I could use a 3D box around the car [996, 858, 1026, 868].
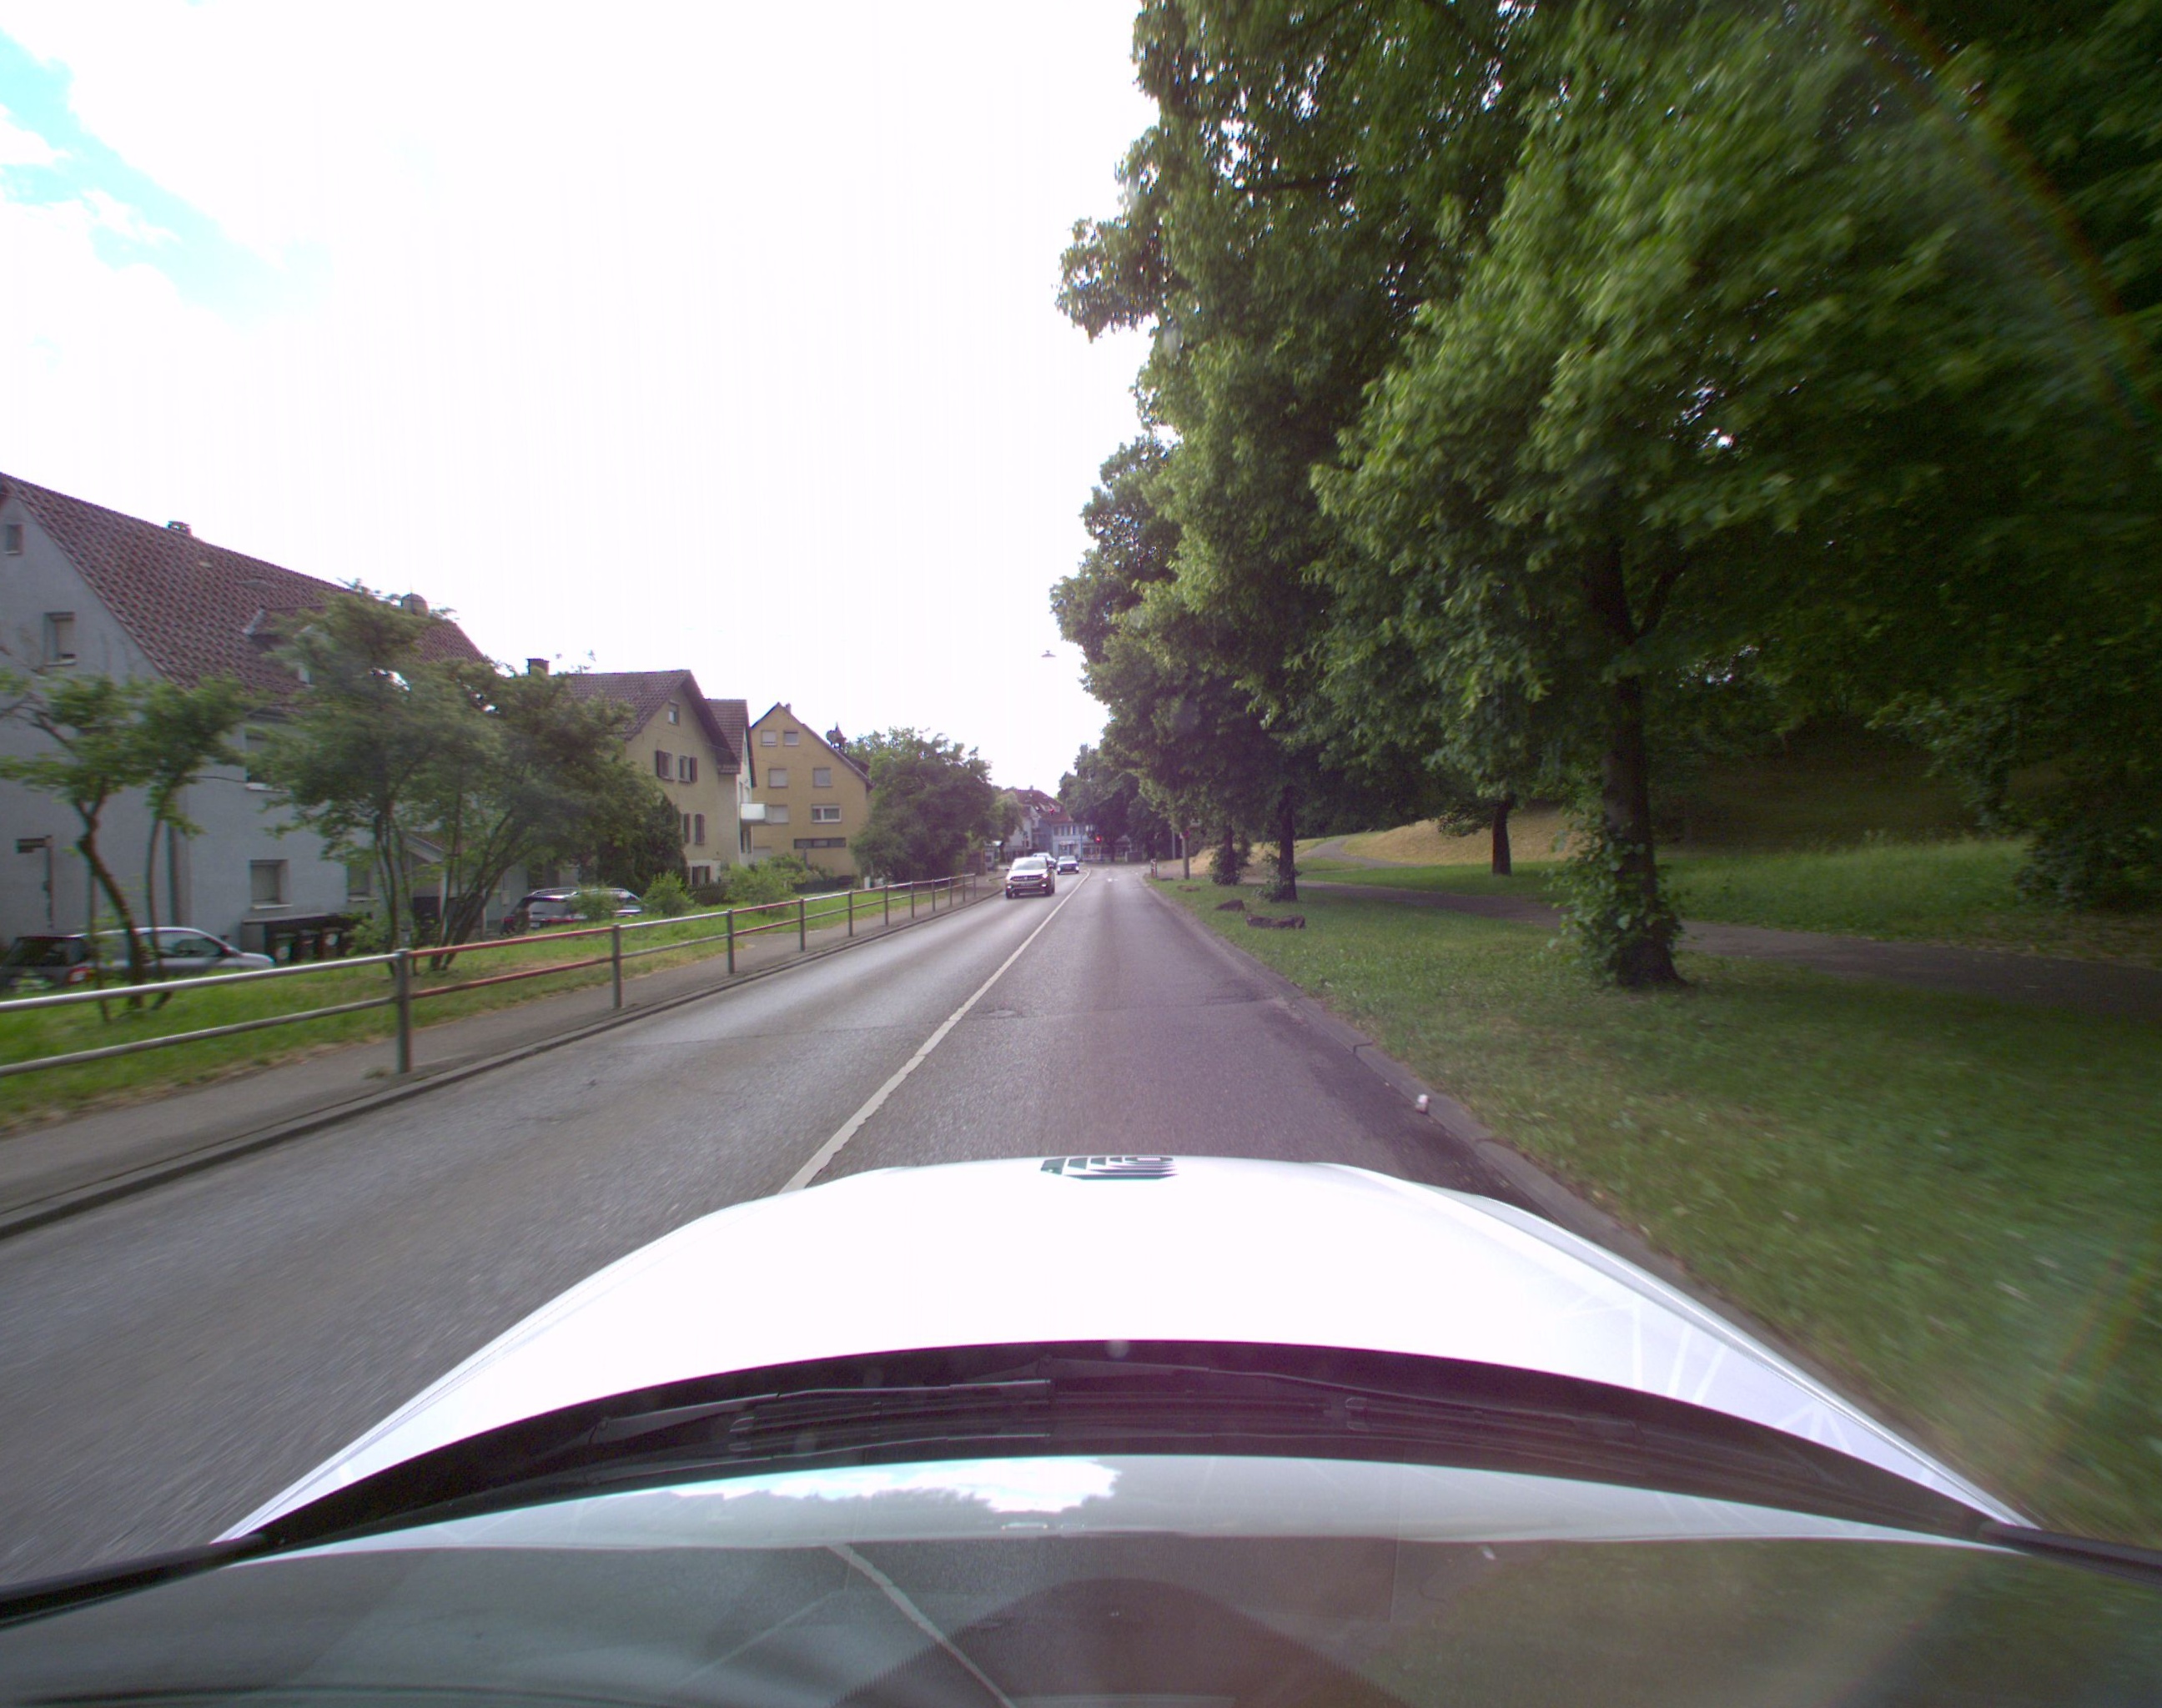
[{"bbox_3d":[-11.824,1.515,138.217,4.542,1.517,2.009,-3,0,16],"label":"car"}]

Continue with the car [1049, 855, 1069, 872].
[{"bbox_3d":[-2.344,1.019,87.392,1.929,1.724,4.692,-3,0,1],"label":"car"}]

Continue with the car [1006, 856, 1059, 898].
[{"bbox_3d":[-1.903,0.872,32.963,1.698,1.512,4.001,-3,0,2],"label":"car"}]

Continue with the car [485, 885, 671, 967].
[{"bbox_3d":[-12.762,1.762,21.010,1.910,1.695,4.008,-3,0,7],"label":"car"}]

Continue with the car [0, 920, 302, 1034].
[{"bbox_3d":[-13.800,1.763,12.250,1.544,1.278,2.559,-3,0,7],"label":"car"}]

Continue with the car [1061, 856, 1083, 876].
[{"bbox_3d":[-0.738,0.965,67.726,1.710,1.468,4.099,-3,0,0],"label":"car"}]
